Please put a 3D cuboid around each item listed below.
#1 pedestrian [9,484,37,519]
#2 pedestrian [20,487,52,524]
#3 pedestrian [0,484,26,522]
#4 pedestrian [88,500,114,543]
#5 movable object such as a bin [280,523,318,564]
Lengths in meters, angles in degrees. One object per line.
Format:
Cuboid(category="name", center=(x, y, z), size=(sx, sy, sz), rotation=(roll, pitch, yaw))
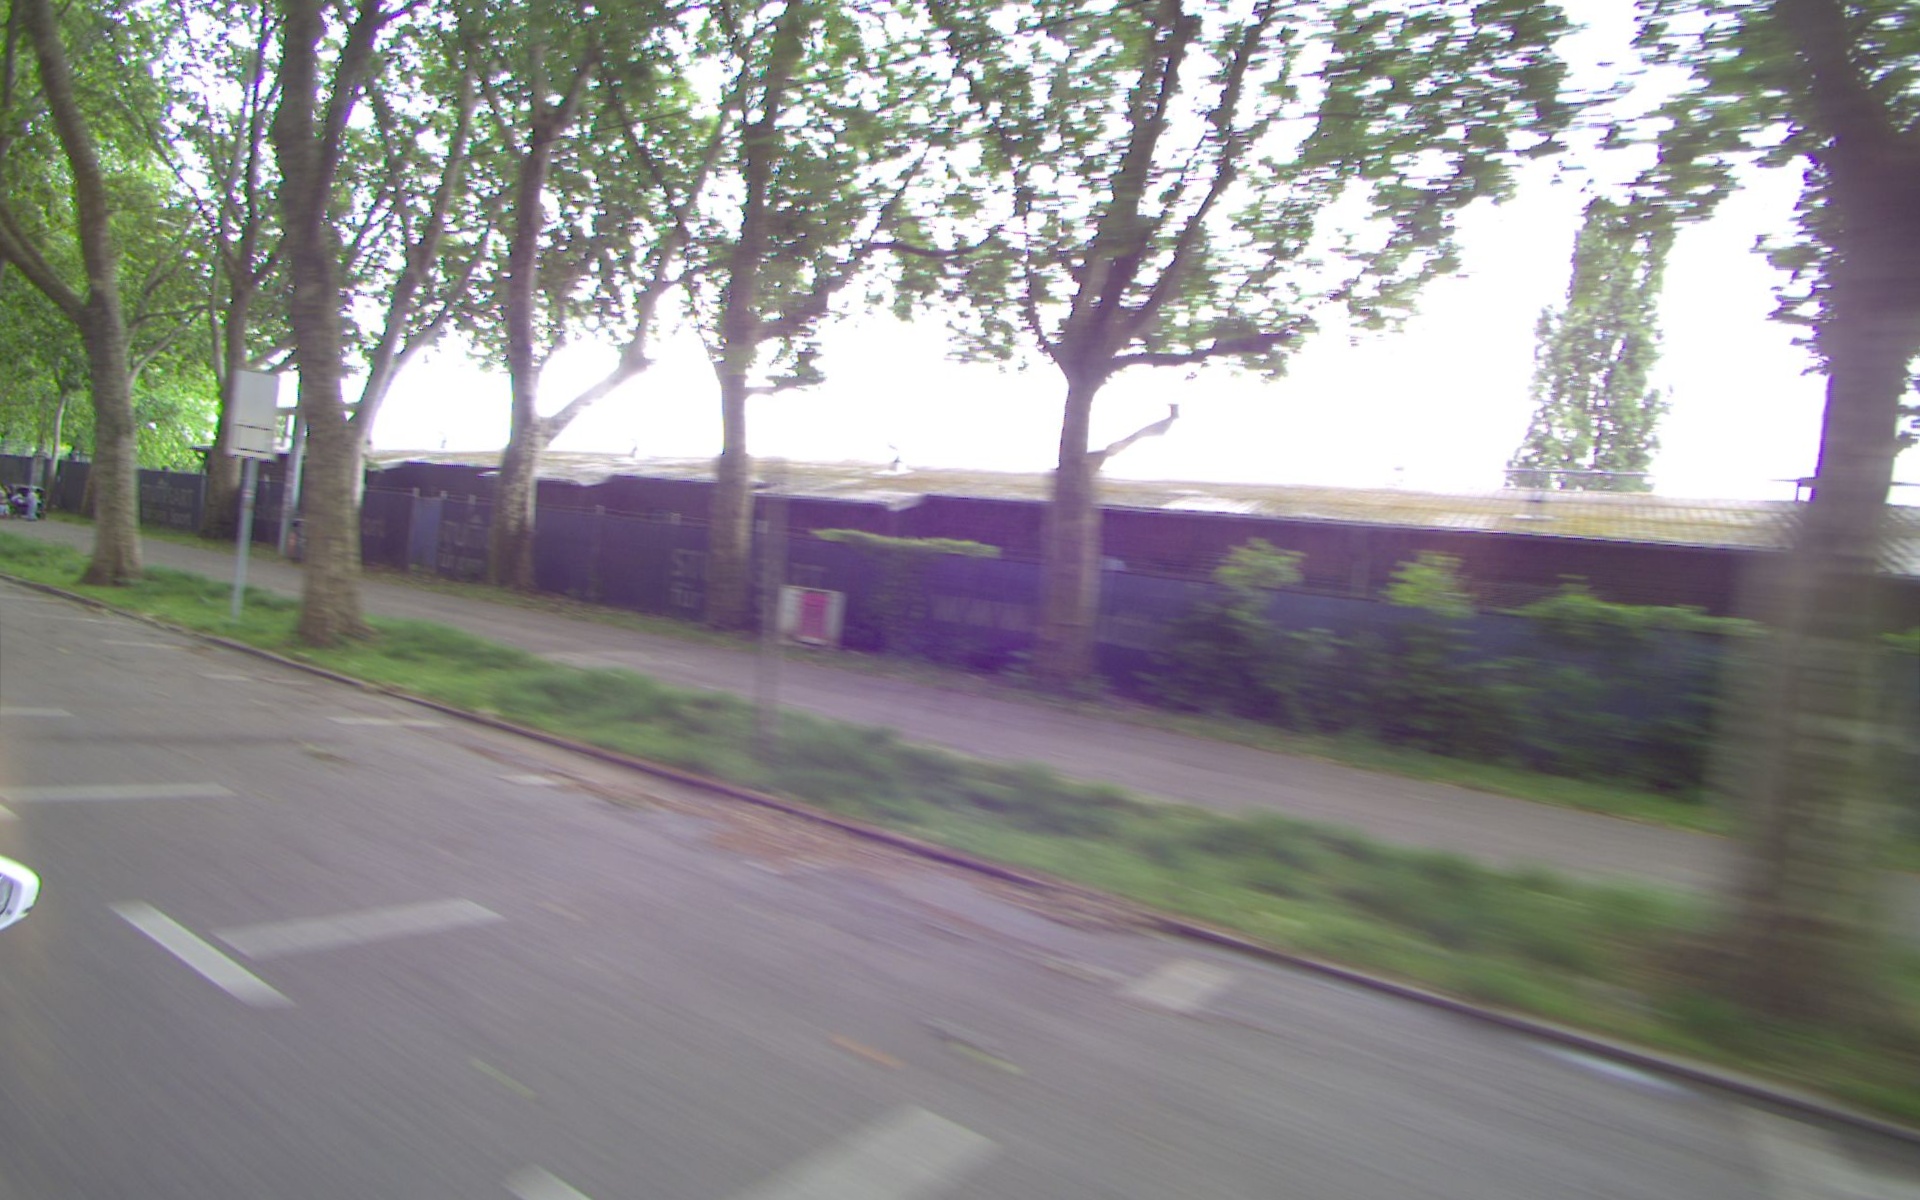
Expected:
Cuboid(category="pedestrian", center=(-30.106, -3.160, 32.326), size=(0.390, 1.047, 0.418), rotation=(7, 0, -8))
Cuboid(category="pedestrian", center=(-28.854, -2.950, 31.424), size=(0.579, 1.063, 0.591), rotation=(8, 4, 35))
Cuboid(category="pedestrian", center=(-29.141, -2.975, 30.749), size=(0.665, 1.072, 0.640), rotation=(7, 0, 33))
Cuboid(category="pedestrian", center=(-23.327, -2.129, 27.317), size=(0.412, 1.099, 0.395), rotation=(8, 4, 35))
Cuboid(category="movable object such as a bin", center=(-16.802, -1.430, 25.570), size=(0.663, 0.973, 0.567), rotation=(7, 6, 31))
